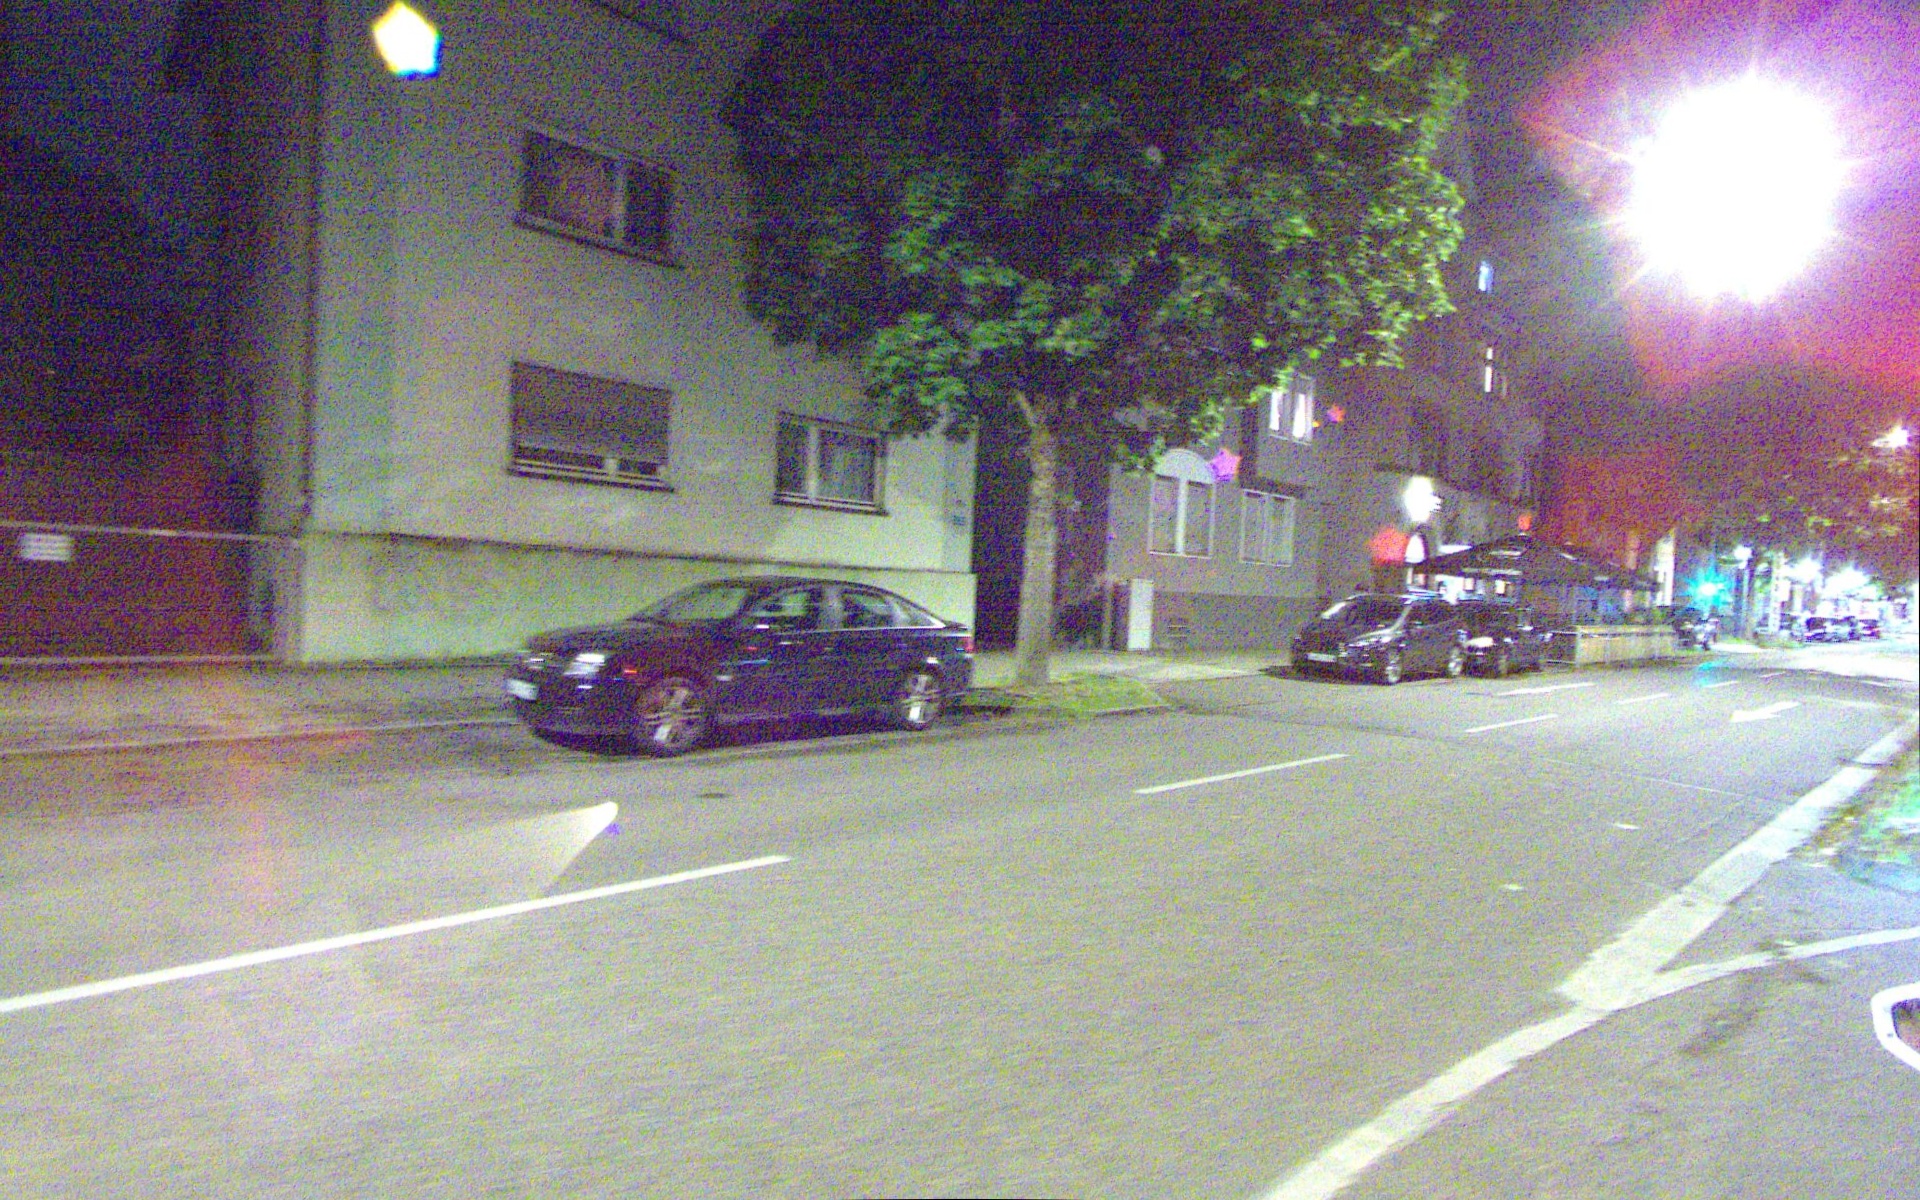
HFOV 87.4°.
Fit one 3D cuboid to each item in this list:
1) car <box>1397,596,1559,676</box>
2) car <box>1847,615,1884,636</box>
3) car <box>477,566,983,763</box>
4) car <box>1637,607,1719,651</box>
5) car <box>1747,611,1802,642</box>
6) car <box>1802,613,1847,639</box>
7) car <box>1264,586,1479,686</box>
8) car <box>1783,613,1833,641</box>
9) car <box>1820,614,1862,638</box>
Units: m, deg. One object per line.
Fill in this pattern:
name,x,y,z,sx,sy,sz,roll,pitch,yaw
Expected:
car,11.255,0.742,21.700,4.293,1.501,1.786,2,1,-44
car,67.068,1.868,74.384,3.972,1.450,1.636,1,1,-43
car,-1.891,0.491,9.368,1.605,1.401,4.425,3,1,44
car,25.920,1.019,36.211,3.972,1.450,1.636,1,1,-43
car,41.600,1.359,51.260,3.972,1.450,1.636,1,1,-43
car,52.074,1.580,60.476,3.972,1.450,1.636,1,1,-43
car,7.607,0.617,18.345,4.420,1.491,1.881,2,3,-43
car,47.581,1.514,56.350,3.972,1.450,1.636,1,1,-43
car,57.101,1.678,65.108,3.972,1.450,1.636,1,1,-43
